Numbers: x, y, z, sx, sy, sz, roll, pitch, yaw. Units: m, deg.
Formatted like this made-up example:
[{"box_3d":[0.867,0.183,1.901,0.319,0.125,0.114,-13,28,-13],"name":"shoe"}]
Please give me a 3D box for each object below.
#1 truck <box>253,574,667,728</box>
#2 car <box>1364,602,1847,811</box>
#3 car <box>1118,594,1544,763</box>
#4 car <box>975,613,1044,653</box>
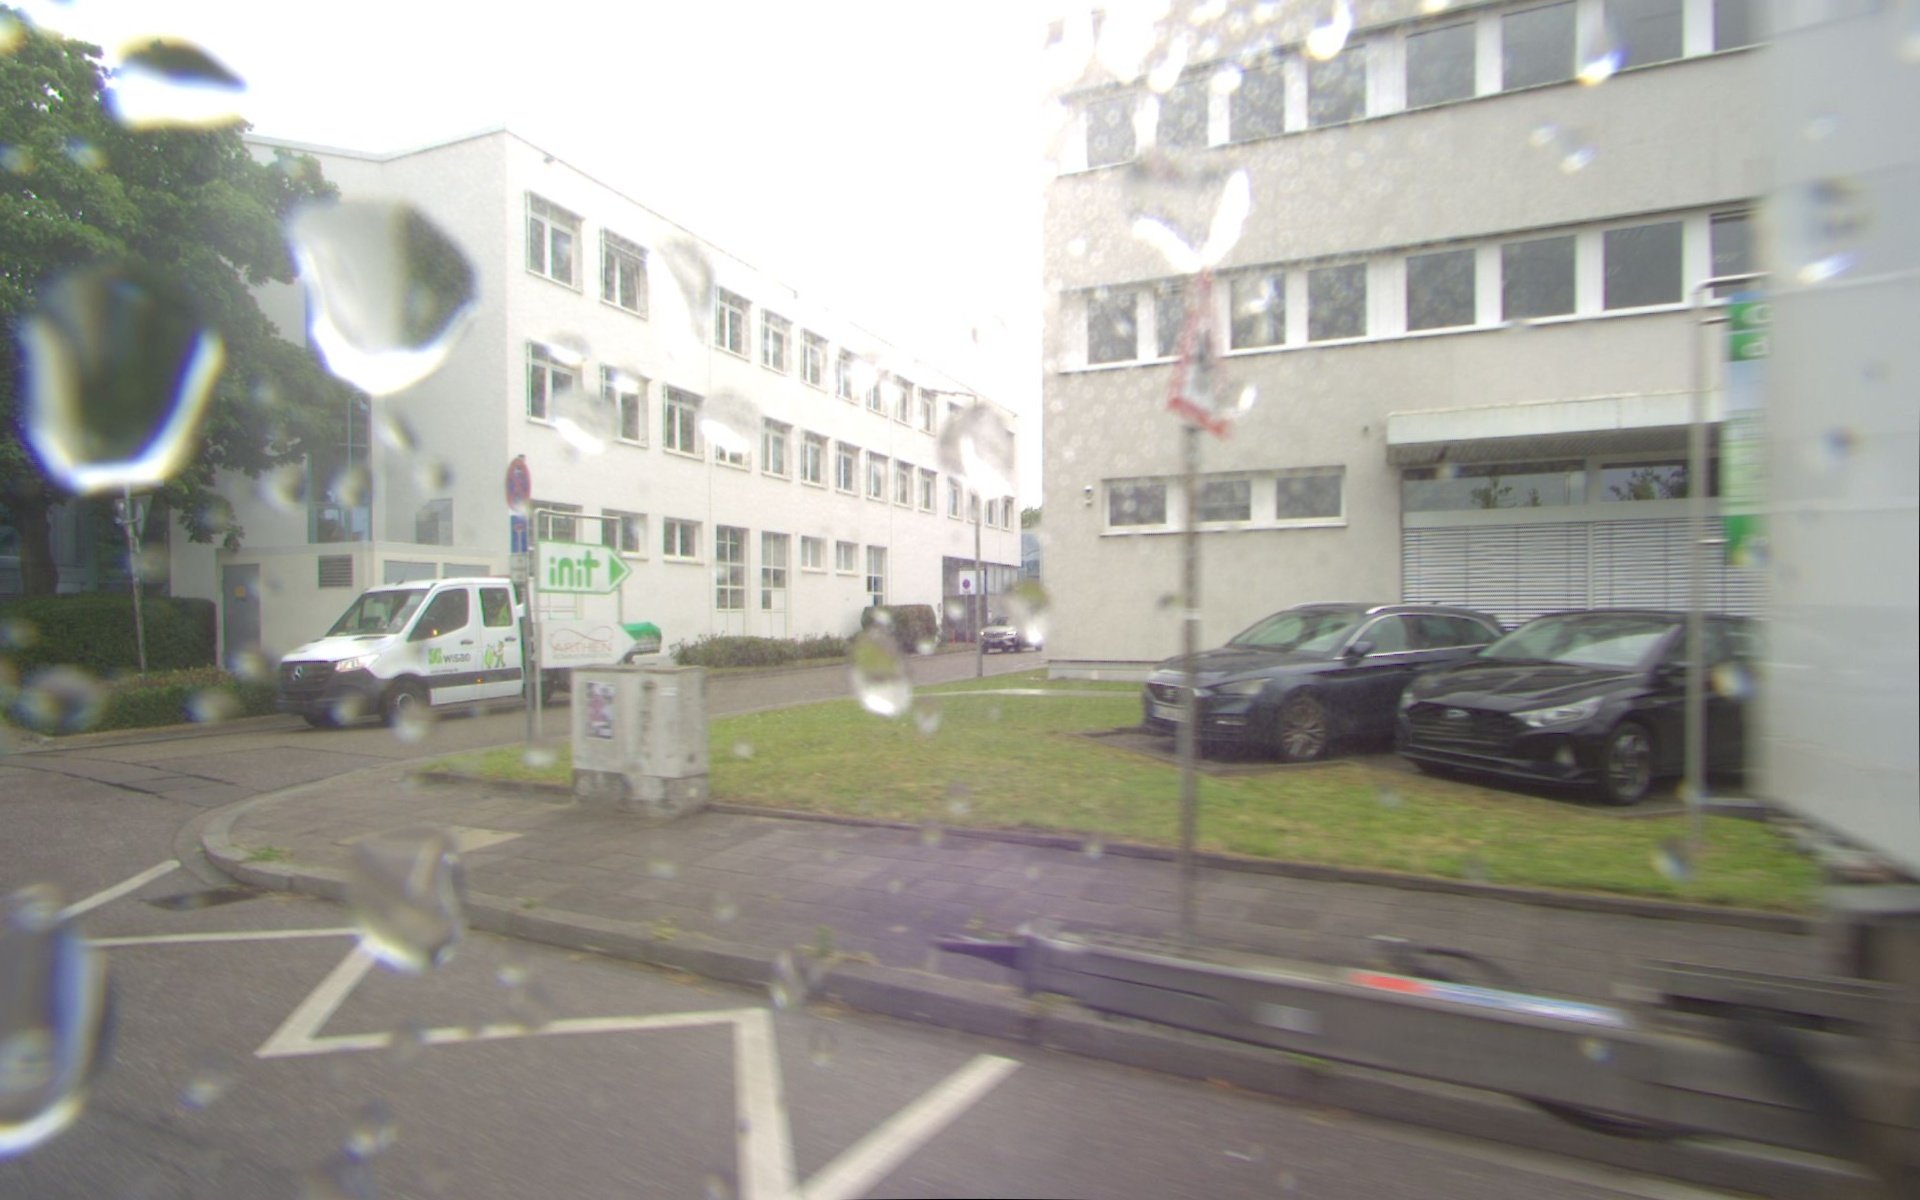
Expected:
[{"box_3d":[-8.246,0.777,17.688,2.059,2.168,6.929,0,-1,22],"name":"truck"},{"box_3d":[5.433,0.836,8.403,3.724,1.414,1.720,3,-2,-26],"name":"car"},{"box_3d":[3.802,0.729,10.197,4.087,1.434,1.683,2,0,-26],"name":"car"},{"box_3d":[2.191,1.360,42.872,1.964,1.617,3.993,0,-1,18],"name":"car"}]
